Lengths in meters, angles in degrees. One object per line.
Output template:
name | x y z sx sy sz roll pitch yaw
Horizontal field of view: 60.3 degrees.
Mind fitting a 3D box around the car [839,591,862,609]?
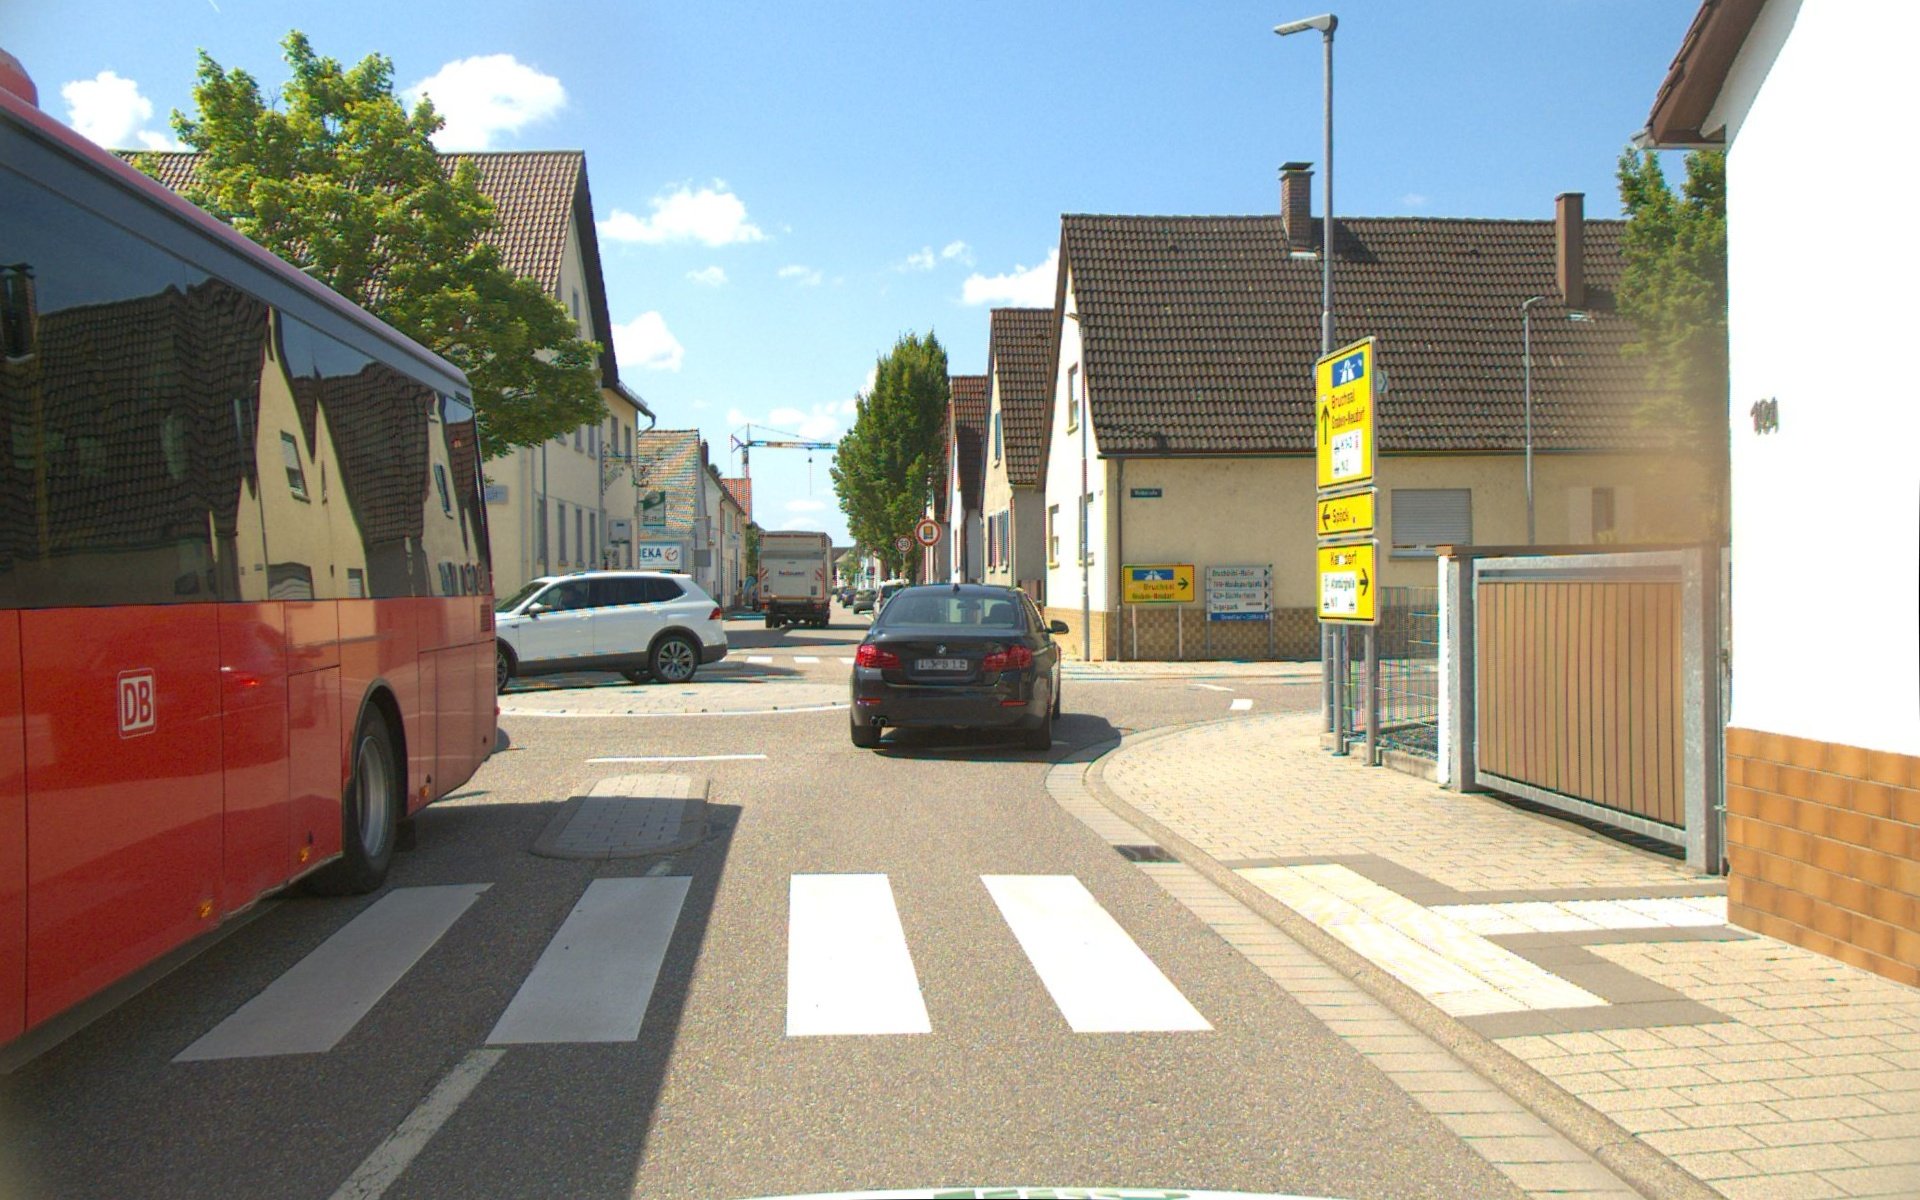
car | -8.412 -0.015 126.838 1.686 1.379 4.152 0 0 -5

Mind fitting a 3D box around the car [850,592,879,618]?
car | -5.687 0.281 98.627 1.685 1.487 4.154 0 0 -3

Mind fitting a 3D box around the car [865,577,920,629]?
car | -2.571 0.107 62.016 1.687 1.821 4.138 -2 1 -7

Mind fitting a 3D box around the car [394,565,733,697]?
car | -5.754 0.391 24.165 4.481 1.740 1.853 -1 1 -31

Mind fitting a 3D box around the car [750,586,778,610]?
car | -13.336 -0.147 112.769 1.774 1.617 3.995 0 0 -6

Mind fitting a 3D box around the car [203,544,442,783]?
car | -5.883 0.468 15.575 1.745 1.852 4.418 -2 2 -19

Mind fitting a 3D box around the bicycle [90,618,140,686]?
bicycle | -14.340 0.861 28.096 0.393 1.021 1.974 -1 2 -17

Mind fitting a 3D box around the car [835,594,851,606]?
car | -12.425 0.005 175.708 1.686 1.291 4.152 0 0 -5

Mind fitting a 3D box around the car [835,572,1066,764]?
car | 0.059 0.550 16.174 1.862 1.591 4.479 -1 1 5

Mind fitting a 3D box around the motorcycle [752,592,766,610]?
motorcycle | -13.180 0.070 108.387 0.830 1.190 2.466 1 0 -6

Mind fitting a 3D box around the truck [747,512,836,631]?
truck | -6.527 -1.031 65.272 3.082 4.325 9.295 1 0 -4

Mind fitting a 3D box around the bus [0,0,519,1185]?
bus | -3.879 -0.128 5.379 2.576 3.288 12.010 -3 1 -5
